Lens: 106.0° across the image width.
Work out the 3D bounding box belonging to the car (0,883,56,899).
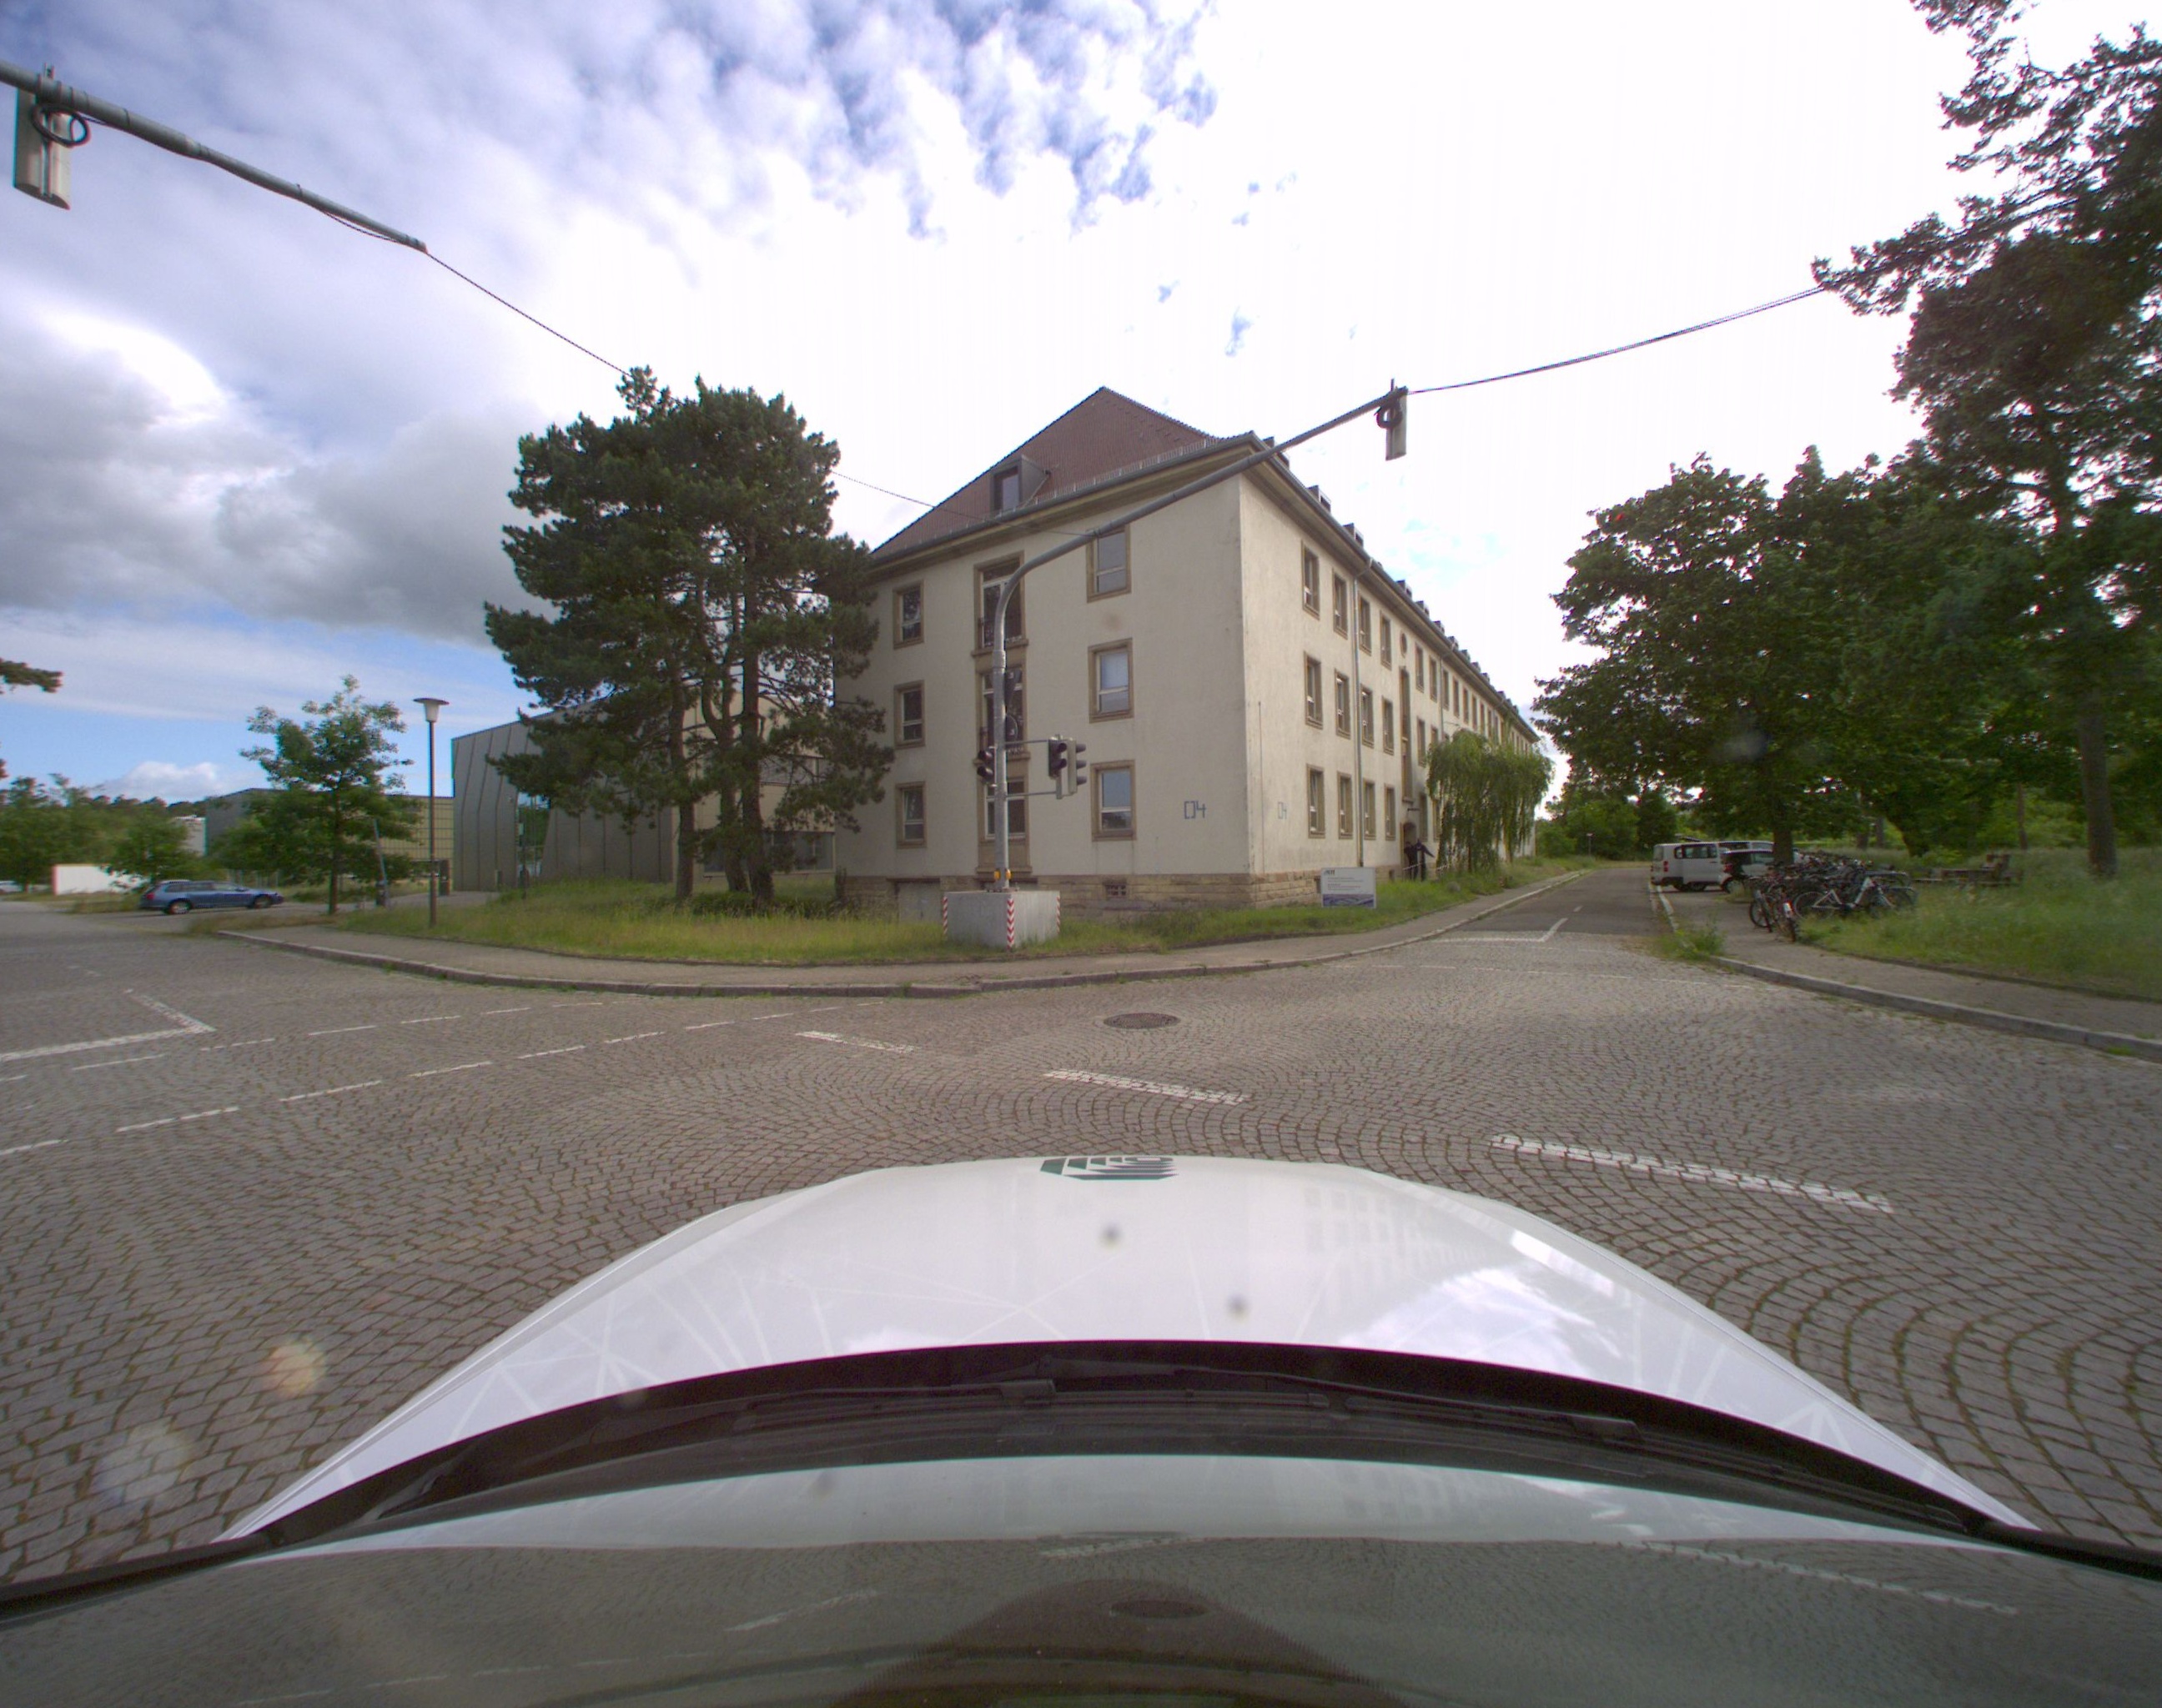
[{"bbox_3d":[-117.401,4.096,90.339,1.900,1.688,4.397,-2,-1,34],"label":"car"}]

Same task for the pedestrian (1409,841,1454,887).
[{"bbox_3d":[14.620,0.394,33.950,1.530,1.870,1.206,0,0,32],"label":"pedestrian"}]

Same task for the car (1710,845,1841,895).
[{"bbox_3d":[23.524,0.508,27.740,3.193,1.621,1.950,0,0,34],"label":"car"}]

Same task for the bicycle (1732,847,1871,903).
[{"bbox_3d":[18.459,0.534,20.969,2.543,1.372,0.957,-1,-1,34],"label":"bicycle"}]

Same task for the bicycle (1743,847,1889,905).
[{"bbox_3d":[18.112,0.533,20.182,2.543,1.372,0.957,-1,-1,34],"label":"bicycle"}]

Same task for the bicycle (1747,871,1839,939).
[{"bbox_3d":[11.770,0.807,13.541,0.892,0.996,1.991,-1,-1,34],"label":"bicycle"}]

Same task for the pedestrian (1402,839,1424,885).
[{"bbox_3d":[14.220,0.349,34.867,0.857,1.932,0.842,1,0,23],"label":"pedestrian"}]

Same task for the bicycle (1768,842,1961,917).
[{"bbox_3d":[15.265,0.488,15.993,2.593,1.367,0.880,-1,-1,34],"label":"bicycle"}]

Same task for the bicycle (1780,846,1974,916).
[{"bbox_3d":[16.683,0.557,17.213,2.775,1.372,0.957,-1,-1,34],"label":"bicycle"}]

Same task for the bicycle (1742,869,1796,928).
[{"bbox_3d":[12.907,0.811,15.316,0.720,0.996,1.991,-2,-1,39],"label":"bicycle"}]

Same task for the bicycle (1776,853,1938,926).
[{"bbox_3d":[14.764,0.662,15.594,2.092,1.306,0.880,-1,-1,34],"label":"bicycle"}]

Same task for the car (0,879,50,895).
[{"bbox_3d":[-133.896,4.166,102.912,1.900,1.780,4.397,-2,-1,36],"label":"car"}]

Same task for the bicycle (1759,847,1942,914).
[{"bbox_3d":[16.723,0.558,17.841,2.775,1.372,0.957,-1,-1,34],"label":"bicycle"}]

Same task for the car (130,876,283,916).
[{"bbox_3d":[-41.081,1.937,38.370,1.974,1.531,4.562,-1,1,32],"label":"car"}]

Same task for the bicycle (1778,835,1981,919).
[{"bbox_3d":[16.044,0.461,16.517,2.775,1.583,0.957,-1,-1,34],"label":"bicycle"}]

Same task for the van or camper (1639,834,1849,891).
[{"bbox_3d":[24.769,0.341,30.760,5.691,1.957,2.250,-1,-1,22],"label":"van or camper"}]

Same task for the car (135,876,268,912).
[{"bbox_3d":[-46.557,2.077,43.202,1.974,1.531,4.562,-1,1,36],"label":"car"}]

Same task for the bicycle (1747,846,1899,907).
[{"bbox_3d":[17.642,0.532,19.479,2.543,1.372,0.957,-1,-1,34],"label":"bicycle"}]

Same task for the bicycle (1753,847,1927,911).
[{"bbox_3d":[17.211,0.559,18.598,2.775,1.372,0.957,-1,-1,34],"label":"bicycle"}]

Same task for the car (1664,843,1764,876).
[{"bbox_3d":[32.733,0.294,42.260,3.948,1.600,1.714,-1,-1,32],"label":"car"}]
